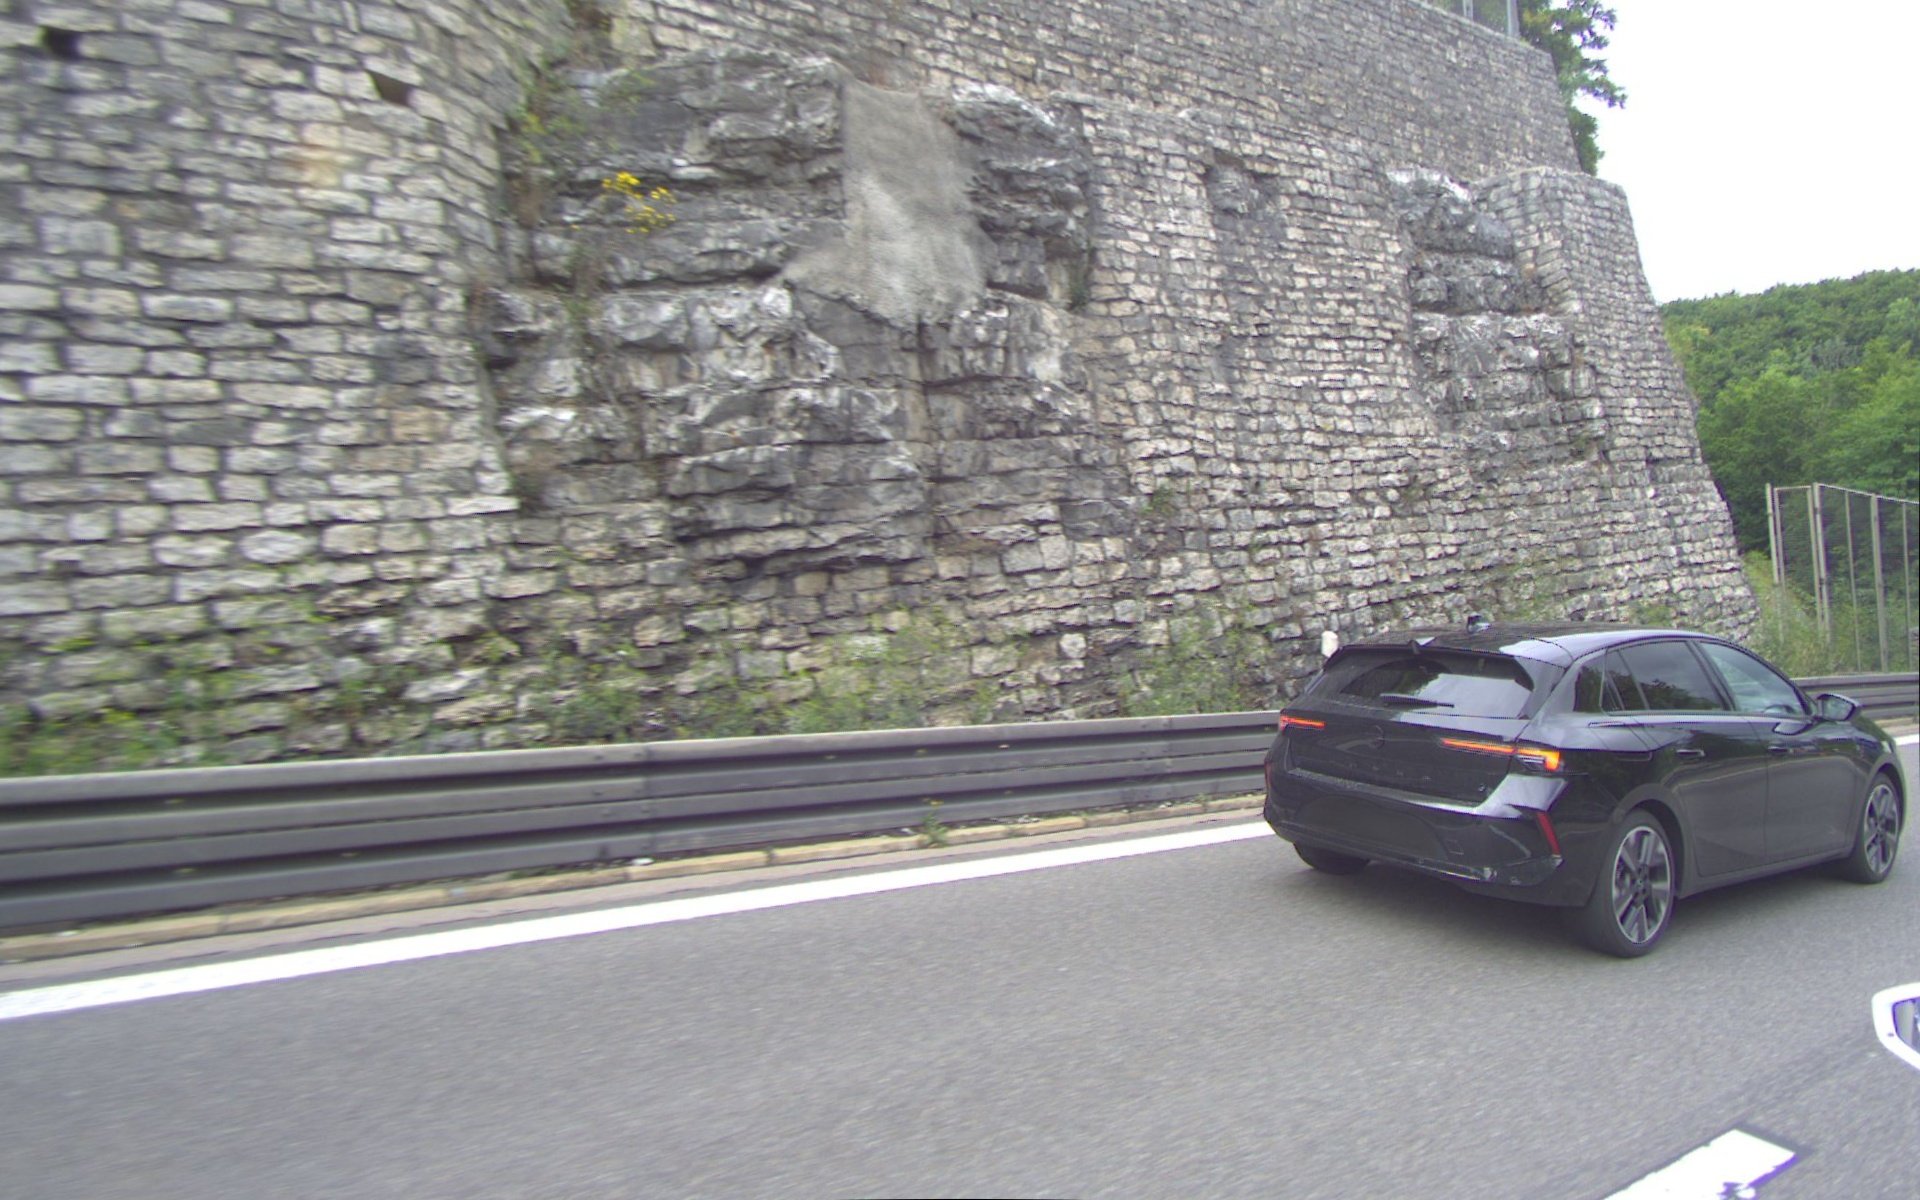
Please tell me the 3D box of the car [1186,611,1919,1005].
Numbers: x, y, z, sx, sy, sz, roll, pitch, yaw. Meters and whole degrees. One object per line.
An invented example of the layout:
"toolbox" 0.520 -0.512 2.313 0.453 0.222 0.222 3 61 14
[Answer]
"car" 3.597 0.839 5.722 4.527 1.480 1.765 1 -1 -30
